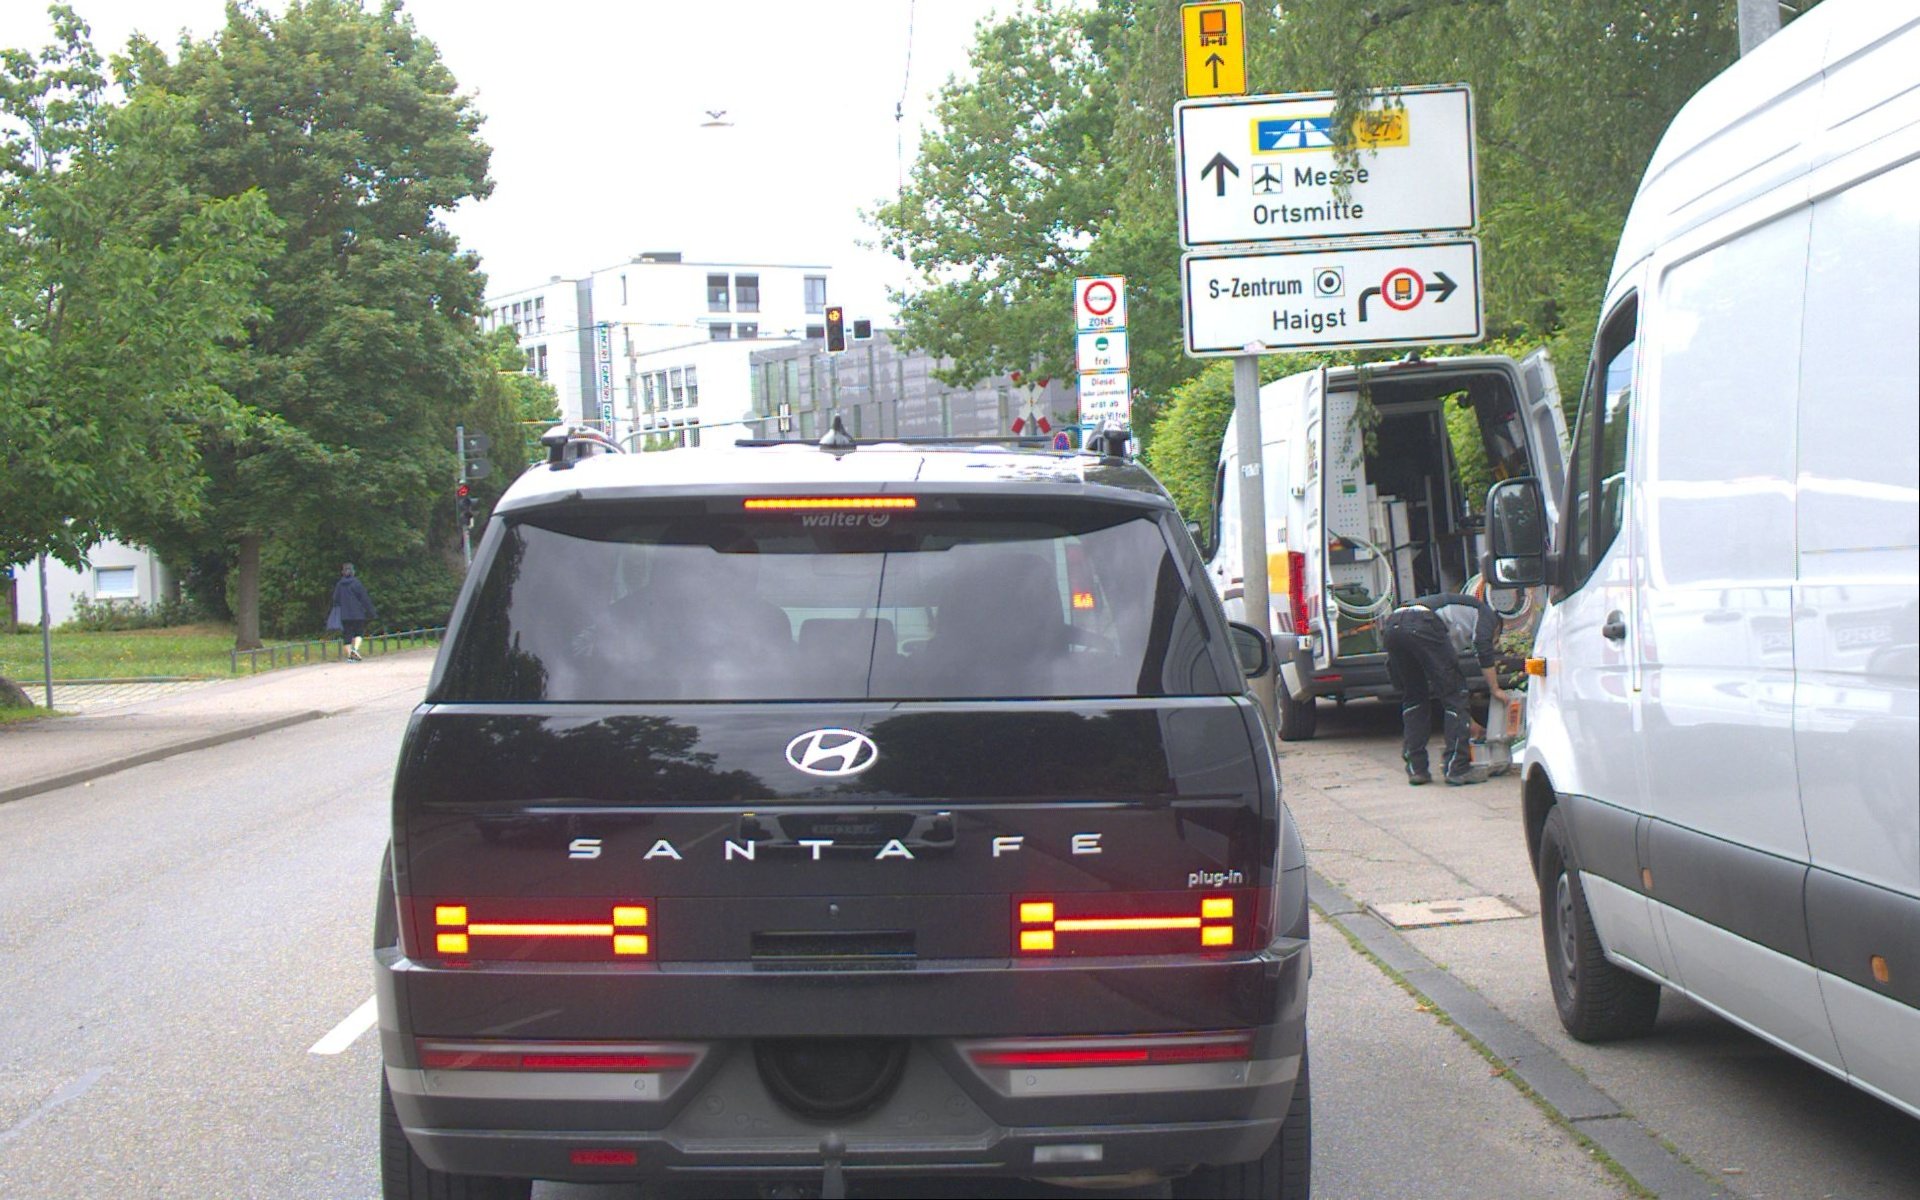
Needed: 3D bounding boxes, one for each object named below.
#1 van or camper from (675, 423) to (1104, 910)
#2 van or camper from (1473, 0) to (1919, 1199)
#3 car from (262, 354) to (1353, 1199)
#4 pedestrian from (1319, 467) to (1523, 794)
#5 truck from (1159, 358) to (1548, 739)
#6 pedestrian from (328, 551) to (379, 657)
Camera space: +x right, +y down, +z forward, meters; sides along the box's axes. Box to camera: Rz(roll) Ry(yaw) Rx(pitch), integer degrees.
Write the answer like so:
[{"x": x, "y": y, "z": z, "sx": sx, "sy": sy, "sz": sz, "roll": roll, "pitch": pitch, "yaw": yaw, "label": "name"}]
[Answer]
[{"x": -0.319, "y": 0.250, "z": 16.543, "sx": 1.754, "sy": 2.007, "sz": 4.000, "roll": -2, "pitch": 1, "yaw": -1, "label": "van or camper"}, {"x": 2.629, "y": -0.063, "z": 7.187, "sx": 1.993, "sy": 2.611, "sz": 6.541, "roll": -2, "pitch": 1, "yaw": -1, "label": "van or camper"}, {"x": -0.284, "y": 0.451, "z": 7.980, "sx": 1.889, "sy": 1.813, "sz": 4.000, "roll": 0, "pitch": 1, "yaw": -1, "label": "car"}, {"x": 2.607, "y": 0.158, "z": 19.413, "sx": 0.759, "sy": 1.791, "sz": 0.871, "roll": -1, "pitch": 1, "yaw": 38, "label": "pedestrian"}, {"x": 2.900, "y": -0.380, "z": 26.588, "sx": 1.942, "sy": 2.553, "sz": 5.217, "roll": -3, "pitch": 1, "yaw": -4, "label": "truck"}, {"x": -9.983, "y": 0.056, "z": 56.634, "sx": 0.738, "sy": 1.709, "sz": 0.793, "roll": -2, "pitch": 1, "yaw": -7, "label": "pedestrian"}]
